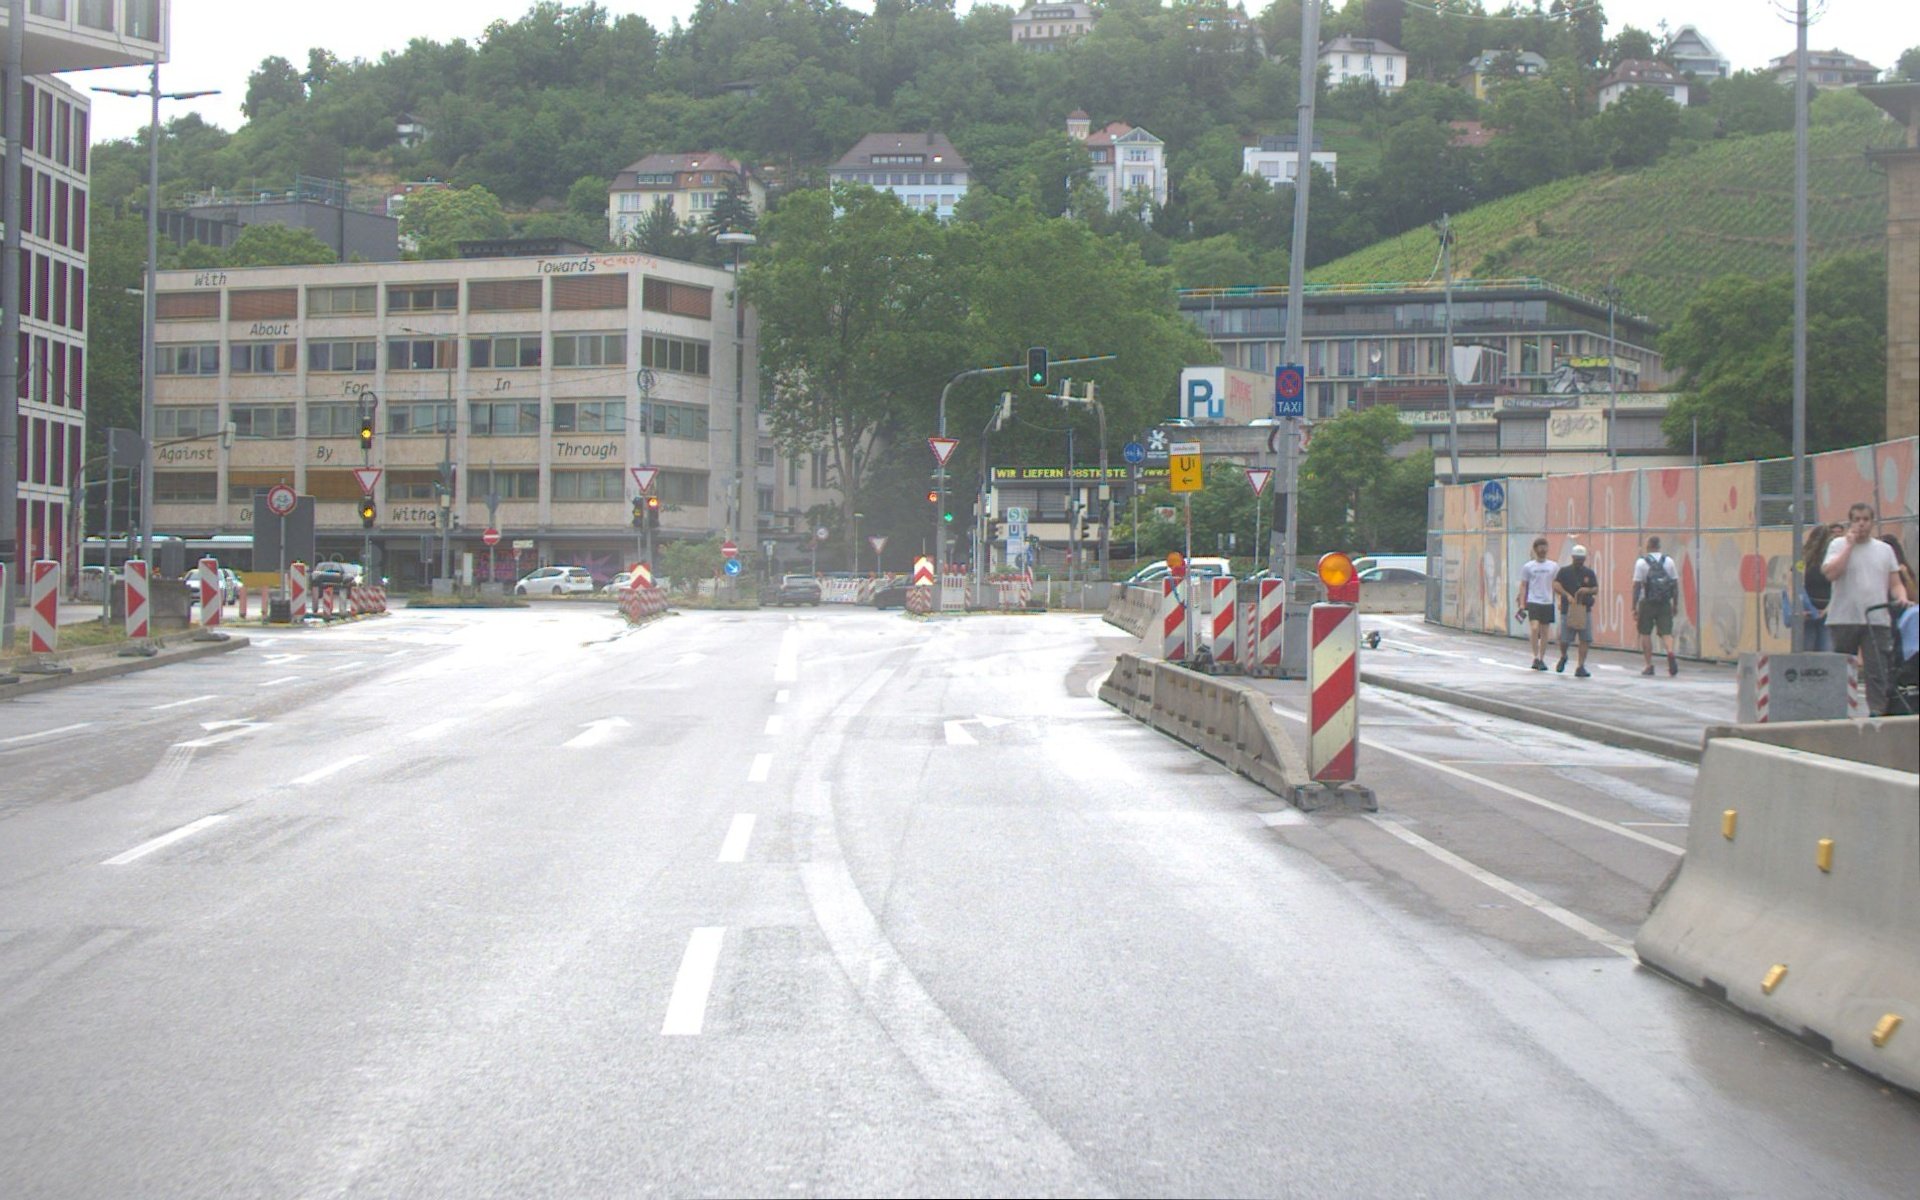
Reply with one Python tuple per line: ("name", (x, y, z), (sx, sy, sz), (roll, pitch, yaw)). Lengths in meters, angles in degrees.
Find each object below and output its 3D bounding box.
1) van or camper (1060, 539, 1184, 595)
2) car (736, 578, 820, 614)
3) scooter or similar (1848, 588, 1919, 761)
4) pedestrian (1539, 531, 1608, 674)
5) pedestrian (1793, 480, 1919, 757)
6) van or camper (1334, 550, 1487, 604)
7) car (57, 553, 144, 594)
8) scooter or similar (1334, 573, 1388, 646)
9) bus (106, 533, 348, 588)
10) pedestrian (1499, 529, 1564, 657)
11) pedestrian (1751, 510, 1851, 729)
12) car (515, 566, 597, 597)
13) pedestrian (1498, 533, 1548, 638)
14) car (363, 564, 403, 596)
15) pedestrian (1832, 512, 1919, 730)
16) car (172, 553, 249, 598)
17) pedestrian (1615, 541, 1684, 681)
("van or camper", (5.773, -1.175, 122.941), (4.241, 1.972, 1.851), (1, 0, -3))
("car", (-7.960, -0.191, 149.937), (1.730, 1.487, 4.077), (0, 1, -35))
("scooter or similar", (6.810, 0.523, 24.528), (0.664, 1.194, 1.044), (1, 1, 0))
("pedestrian", (7.530, 0.026, 42.225), (0.642, 1.734, 0.838), (1, 1, -3))
("pedestrian", (6.720, 0.129, 25.530), (0.803, 2.009, 0.972), (1, 1, 0))
("van or camper", (16.144, -0.833, 123.318), (5.195, 1.887, 1.888), (1, 0, -3))
("car", (-39.658, -1.229, 158.591), (3.996, 1.809, 1.802), (1, 1, 38))
("scooter or similar", (6.566, 0.147, 56.367), (0.467, 1.179, 1.415), (1, 1, -11))
("bus", (-39.025, -2.106, 182.693), (13.953, 2.741, 3.206), (1, 1, 29))
("pedestrian", (7.856, -0.097, 47.295), (0.683, 1.734, 0.907), (1, 1, -3))
("pedestrian", (7.352, 0.162, 30.068), (0.683, 1.882, 0.693), (1, 1, 0))
("car", (-20.018, -0.901, 170.179), (4.074, 1.487, 1.731), (1, 1, 41))
("pedestrian", (10.031, -0.260, 61.301), (0.719, 1.860, 0.709), (1, 1, -3))
("car", (-27.403, -0.961, 163.174), (1.830, 1.481, 4.001), (0, 1, -10))
("pedestrian", (8.065, 0.178, 30.055), (0.683, 1.882, 0.693), (1, 1, 0))
("car", (-29.717, -0.944, 136.448), (2.222, 1.747, 4.813), (0, 0, -3))
("pedestrian", (9.323, 0.143, 46.498), (0.703, 1.860, 0.990), (1, 1, -1))
